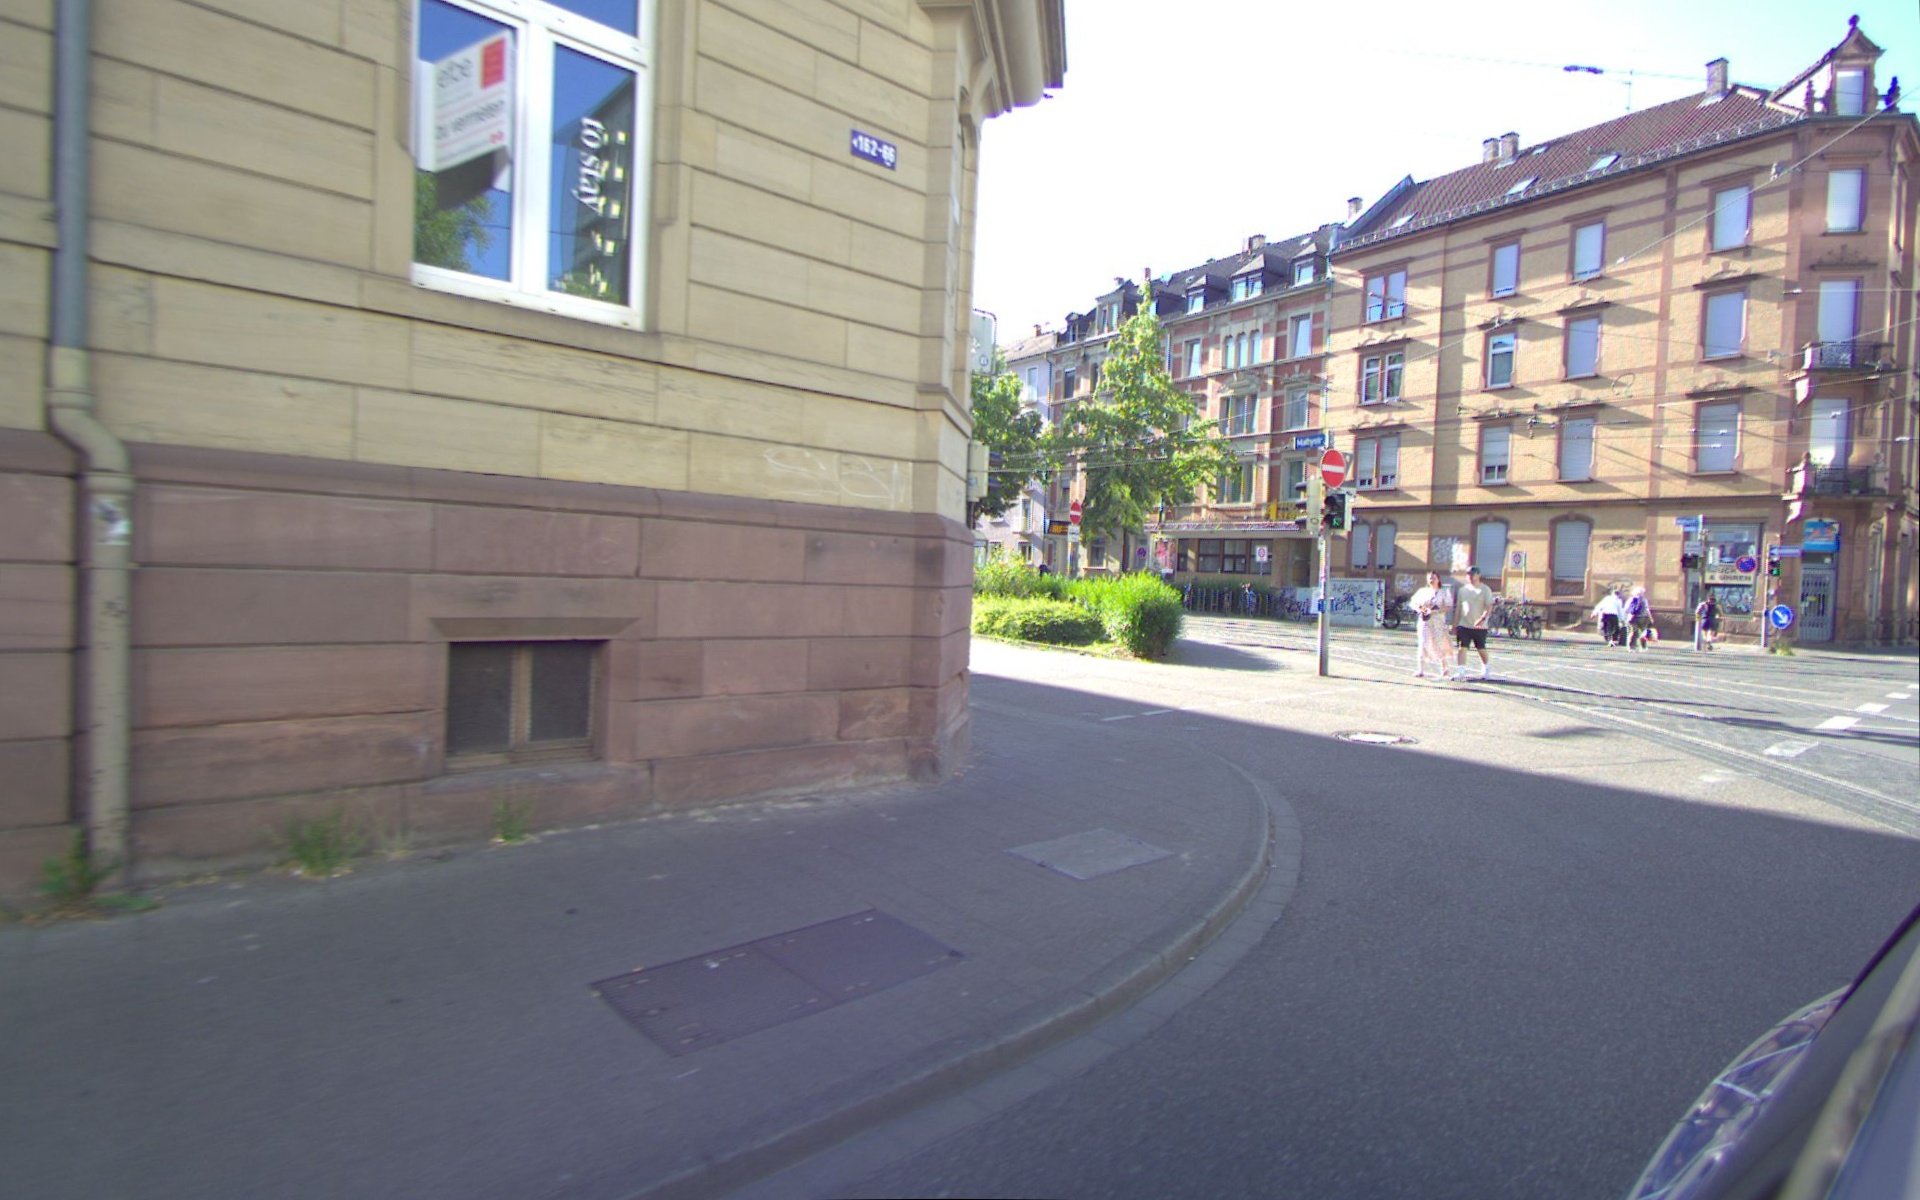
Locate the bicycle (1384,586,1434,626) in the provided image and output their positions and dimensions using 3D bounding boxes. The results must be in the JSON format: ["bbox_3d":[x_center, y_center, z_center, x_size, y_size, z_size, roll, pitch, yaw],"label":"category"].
[{"bbox_3d":[15.169,0.214,34.135,2.272,1.225,0.650,3,0,-43],"label":"bicycle"}]

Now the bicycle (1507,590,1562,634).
[{"bbox_3d":[17.542,0.389,30.880,2.272,1.225,0.752,3,0,-43],"label":"bicycle"}]

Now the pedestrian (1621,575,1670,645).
[{"bbox_3d":[16.812,0.235,24.833,0.919,1.652,0.930,3,2,34],"label":"pedestrian"}]

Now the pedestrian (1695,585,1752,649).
[{"bbox_3d":[19.233,0.411,25.501,0.922,1.556,0.636,2,1,-8],"label":"pedestrian"}]

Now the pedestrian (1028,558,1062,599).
[{"bbox_3d":[3.553,-0.909,42.225,1.002,1.652,1.010,3,2,33],"label":"pedestrian"}]

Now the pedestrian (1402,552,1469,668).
[{"bbox_3d":[7.448,0.147,15.864,0.691,1.767,0.646,1,0,-26],"label":"pedestrian"}]

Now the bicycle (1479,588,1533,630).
[{"bbox_3d":[17.033,0.290,31.545,2.272,1.225,0.752,2,1,-43],"label":"bicycle"}]

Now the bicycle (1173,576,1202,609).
[{"bbox_3d":[8.546,-0.263,37.967,0.644,1.143,2.023,3,0,24],"label":"bicycle"}]

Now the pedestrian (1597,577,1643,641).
[{"bbox_3d":[17.849,0.231,27.368,0.920,1.652,0.996,3,2,37],"label":"pedestrian"}]

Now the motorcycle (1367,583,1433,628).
[{"bbox_3d":[15.508,0.206,35.735,1.916,1.422,0.862,5,0,14],"label":"motorcycle"}]

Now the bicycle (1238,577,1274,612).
[{"bbox_3d":[10.913,-0.194,37.262,0.647,1.224,2.014,3,2,35],"label":"bicycle"}]

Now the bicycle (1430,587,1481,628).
[{"bbox_3d":[16.091,0.259,32.828,2.272,1.225,0.650,3,0,-43],"label":"bicycle"}]

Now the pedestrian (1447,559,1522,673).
[{"bbox_3d":[7.908,0.226,15.279,0.618,1.675,0.704,1,1,-18],"label":"pedestrian"}]

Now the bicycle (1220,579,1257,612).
[{"bbox_3d":[10.400,-0.147,37.757,0.647,1.143,2.014,3,0,35],"label":"bicycle"}]

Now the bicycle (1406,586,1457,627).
[{"bbox_3d":[15.600,0.228,33.437,2.272,1.225,0.650,3,0,-43],"label":"bicycle"}]

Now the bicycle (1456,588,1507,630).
[{"bbox_3d":[16.606,0.302,32.192,2.272,1.225,0.650,3,0,-43],"label":"bicycle"}]
